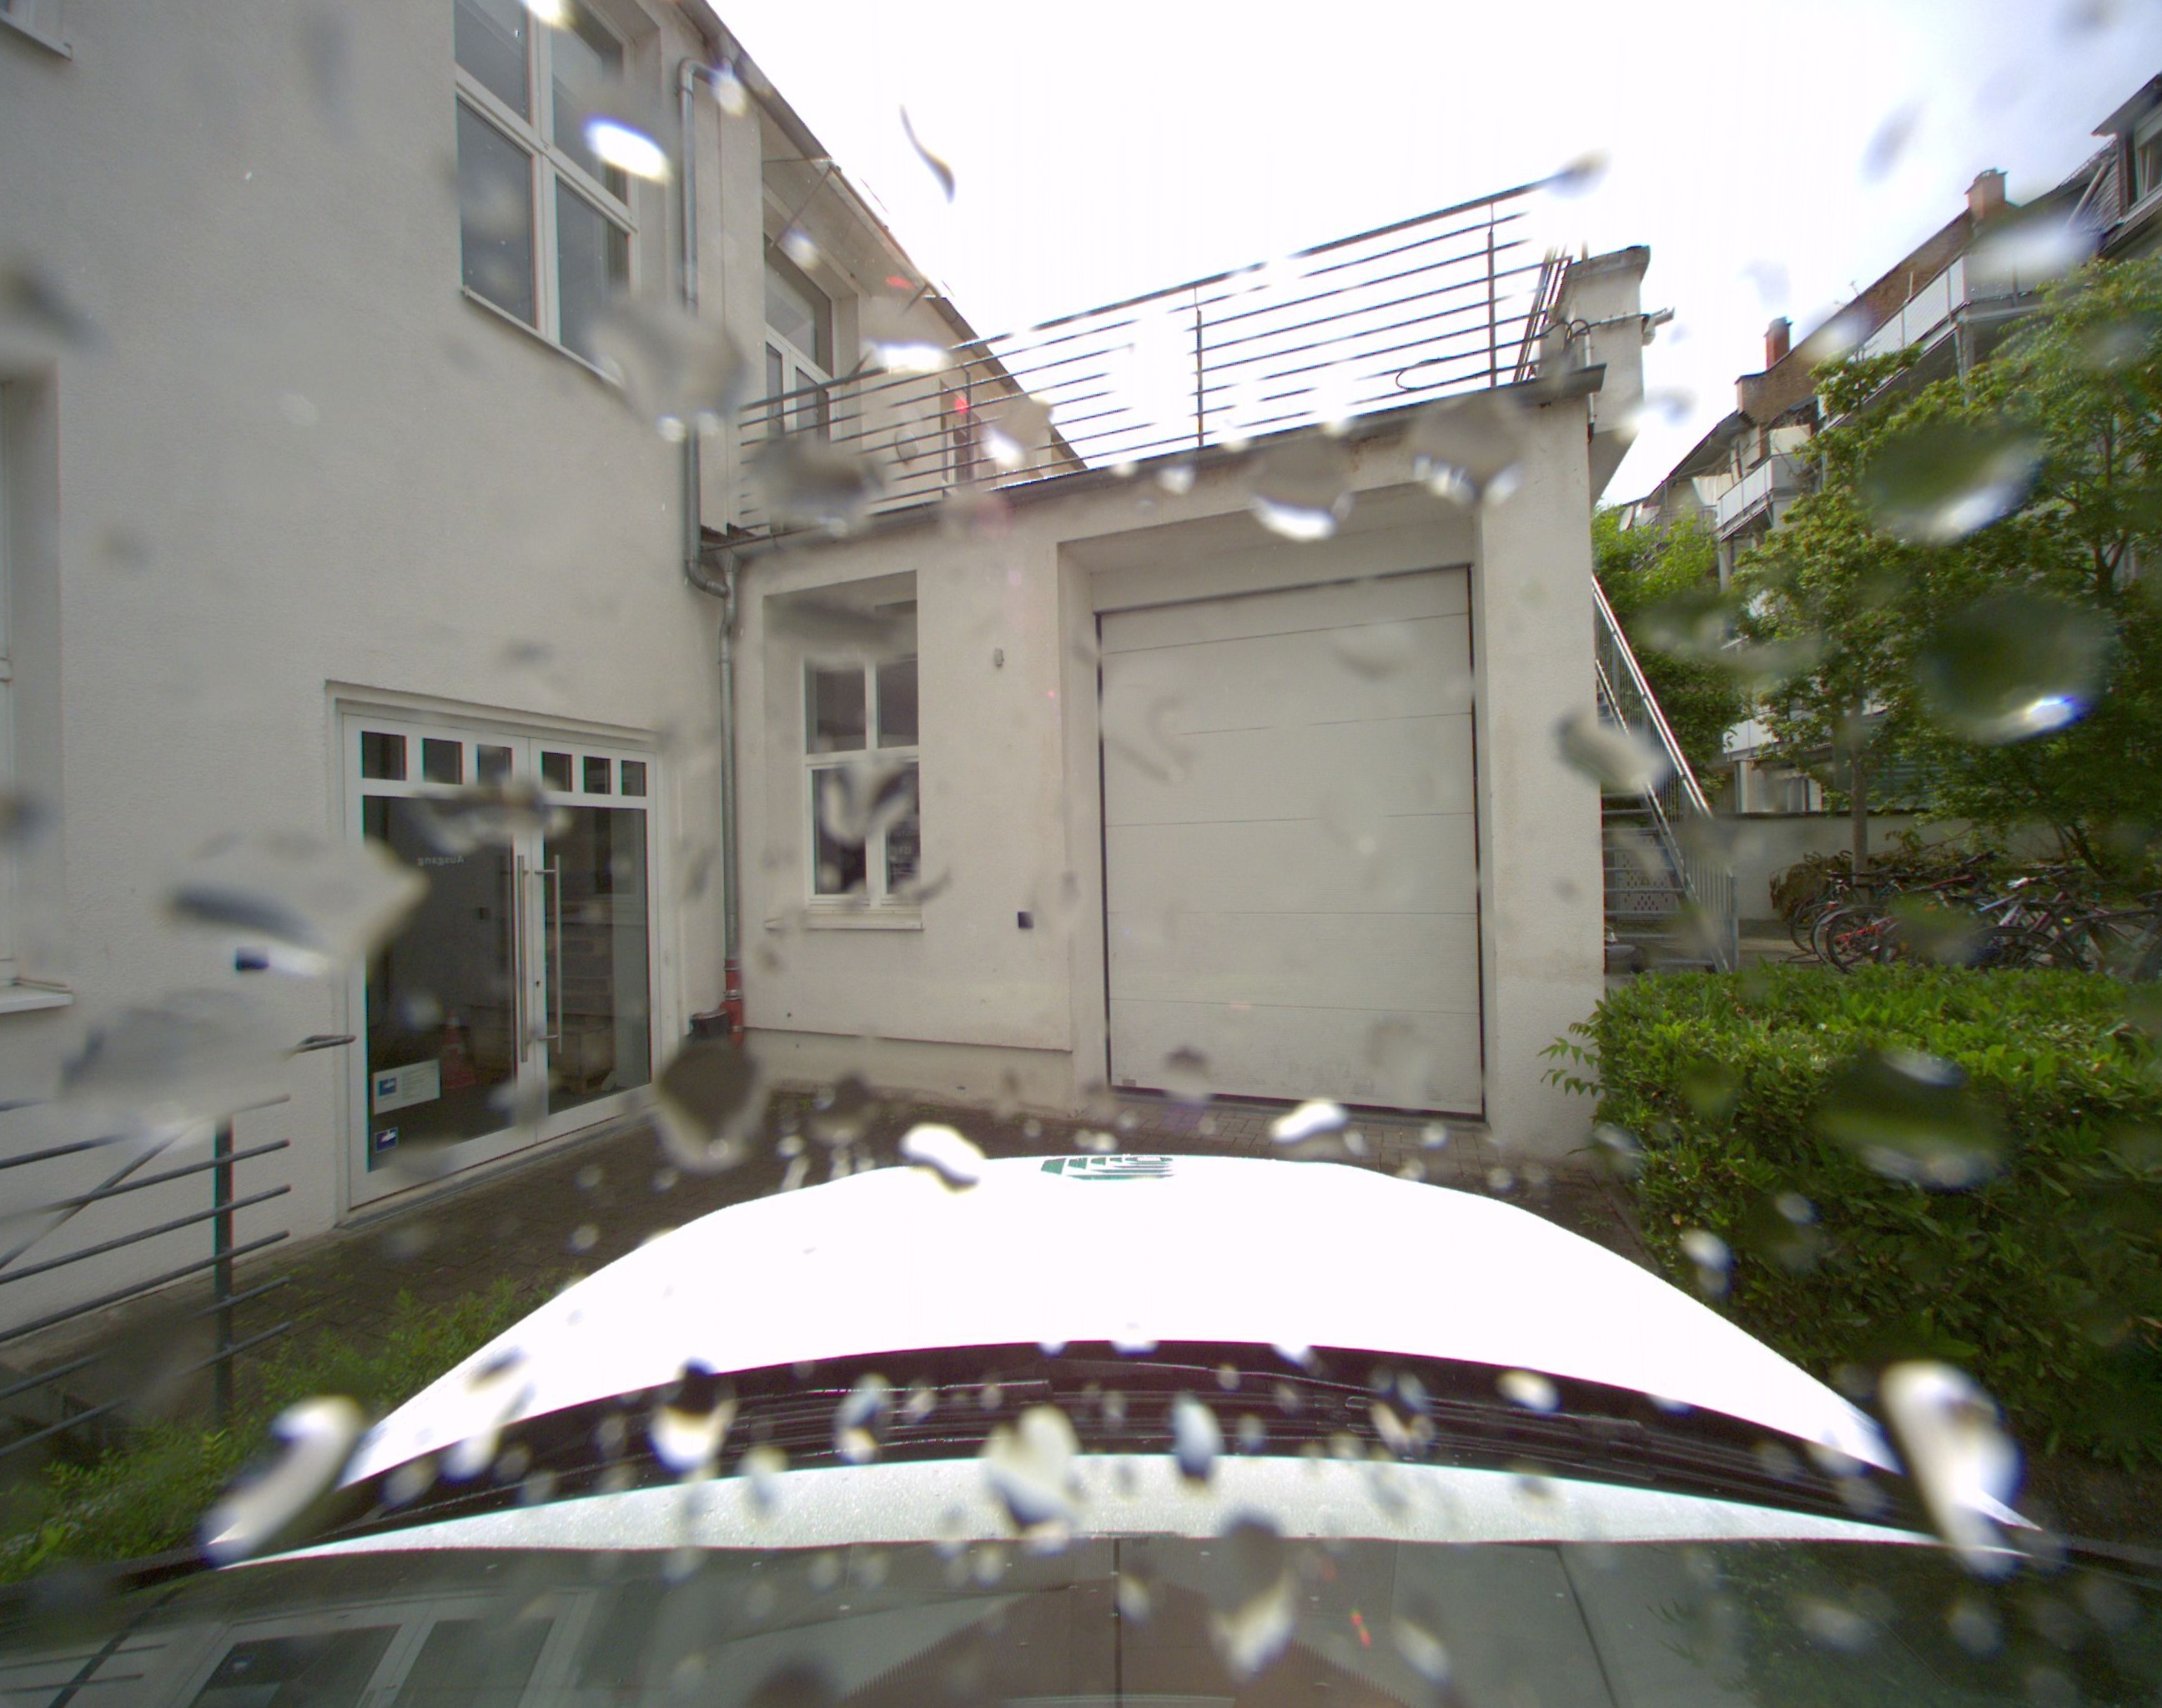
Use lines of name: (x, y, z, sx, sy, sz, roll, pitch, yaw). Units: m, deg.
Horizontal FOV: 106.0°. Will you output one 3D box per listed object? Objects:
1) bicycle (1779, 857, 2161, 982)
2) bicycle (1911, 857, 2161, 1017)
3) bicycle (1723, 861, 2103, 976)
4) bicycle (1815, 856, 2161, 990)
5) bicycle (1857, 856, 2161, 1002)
bicycle: (8.666, 0.585, 7.907, 2.820, 1.078, 0.693, 0, 1, 18)
bicycle: (7.968, 0.579, 5.789, 2.900, 1.078, 0.693, 0, 1, 18)
bicycle: (8.663, 0.634, 8.656, 2.820, 1.078, 0.693, 0, 1, 18)
bicycle: (8.436, 0.576, 7.226, 2.820, 1.078, 0.693, 0, 1, 18)
bicycle: (8.197, 0.575, 6.539, 2.820, 1.078, 0.693, 0, 1, 18)
